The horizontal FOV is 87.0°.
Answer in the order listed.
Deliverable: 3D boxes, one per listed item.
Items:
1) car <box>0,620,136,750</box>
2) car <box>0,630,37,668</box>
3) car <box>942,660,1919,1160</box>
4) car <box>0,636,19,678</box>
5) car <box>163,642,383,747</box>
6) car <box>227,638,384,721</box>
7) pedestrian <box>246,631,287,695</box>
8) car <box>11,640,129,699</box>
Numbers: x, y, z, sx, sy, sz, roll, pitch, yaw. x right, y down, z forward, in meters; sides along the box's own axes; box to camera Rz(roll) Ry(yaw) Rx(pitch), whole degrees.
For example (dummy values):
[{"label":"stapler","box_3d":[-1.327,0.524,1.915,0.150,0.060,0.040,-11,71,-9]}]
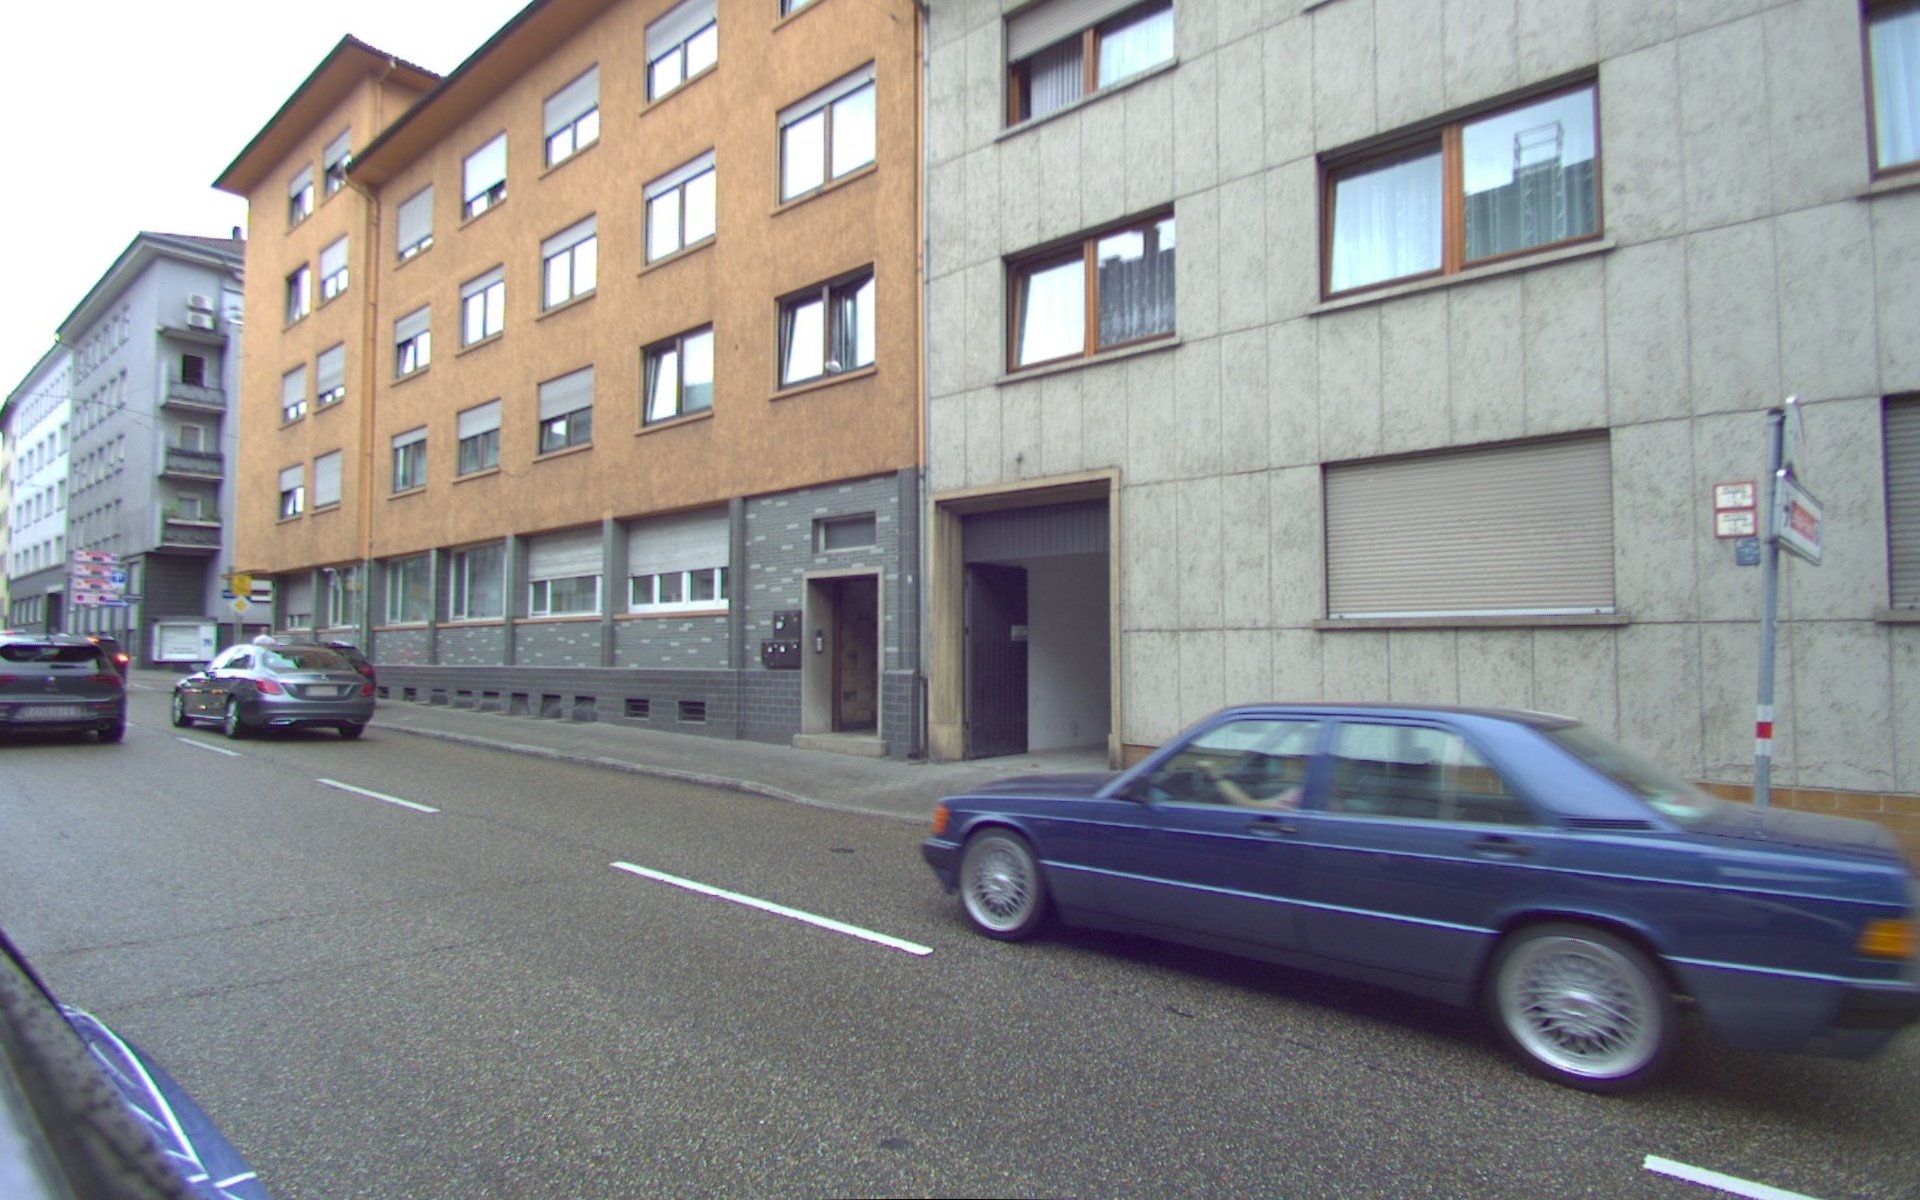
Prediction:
[{"label":"car","box_3d":[-13.249,1.107,14.275,4.214,1.592,1.677,0,-4,40]},{"label":"car","box_3d":[-46.460,2.367,49.263,4.216,1.735,1.832,-1,0,41]},{"label":"car","box_3d":[2.086,1.054,4.735,4.359,1.381,1.582,-1,-5,41]},{"label":"car","box_3d":[-38.865,2.179,40.096,4.433,1.551,1.677,-1,-6,40]},{"label":"car","box_3d":[-11.076,1.446,16.211,4.362,1.381,1.678,-1,-5,40]},{"label":"car","box_3d":[-14.233,1.634,21.927,4.216,1.485,1.776,-1,0,41]},{"label":"pedestrian","box_3d":[-18.999,1.706,27.707,0.757,1.652,1.024,-1,0,-44]},{"label":"car","box_3d":[-24.457,1.868,27.770,4.370,1.484,1.705,-2,-5,40]}]
